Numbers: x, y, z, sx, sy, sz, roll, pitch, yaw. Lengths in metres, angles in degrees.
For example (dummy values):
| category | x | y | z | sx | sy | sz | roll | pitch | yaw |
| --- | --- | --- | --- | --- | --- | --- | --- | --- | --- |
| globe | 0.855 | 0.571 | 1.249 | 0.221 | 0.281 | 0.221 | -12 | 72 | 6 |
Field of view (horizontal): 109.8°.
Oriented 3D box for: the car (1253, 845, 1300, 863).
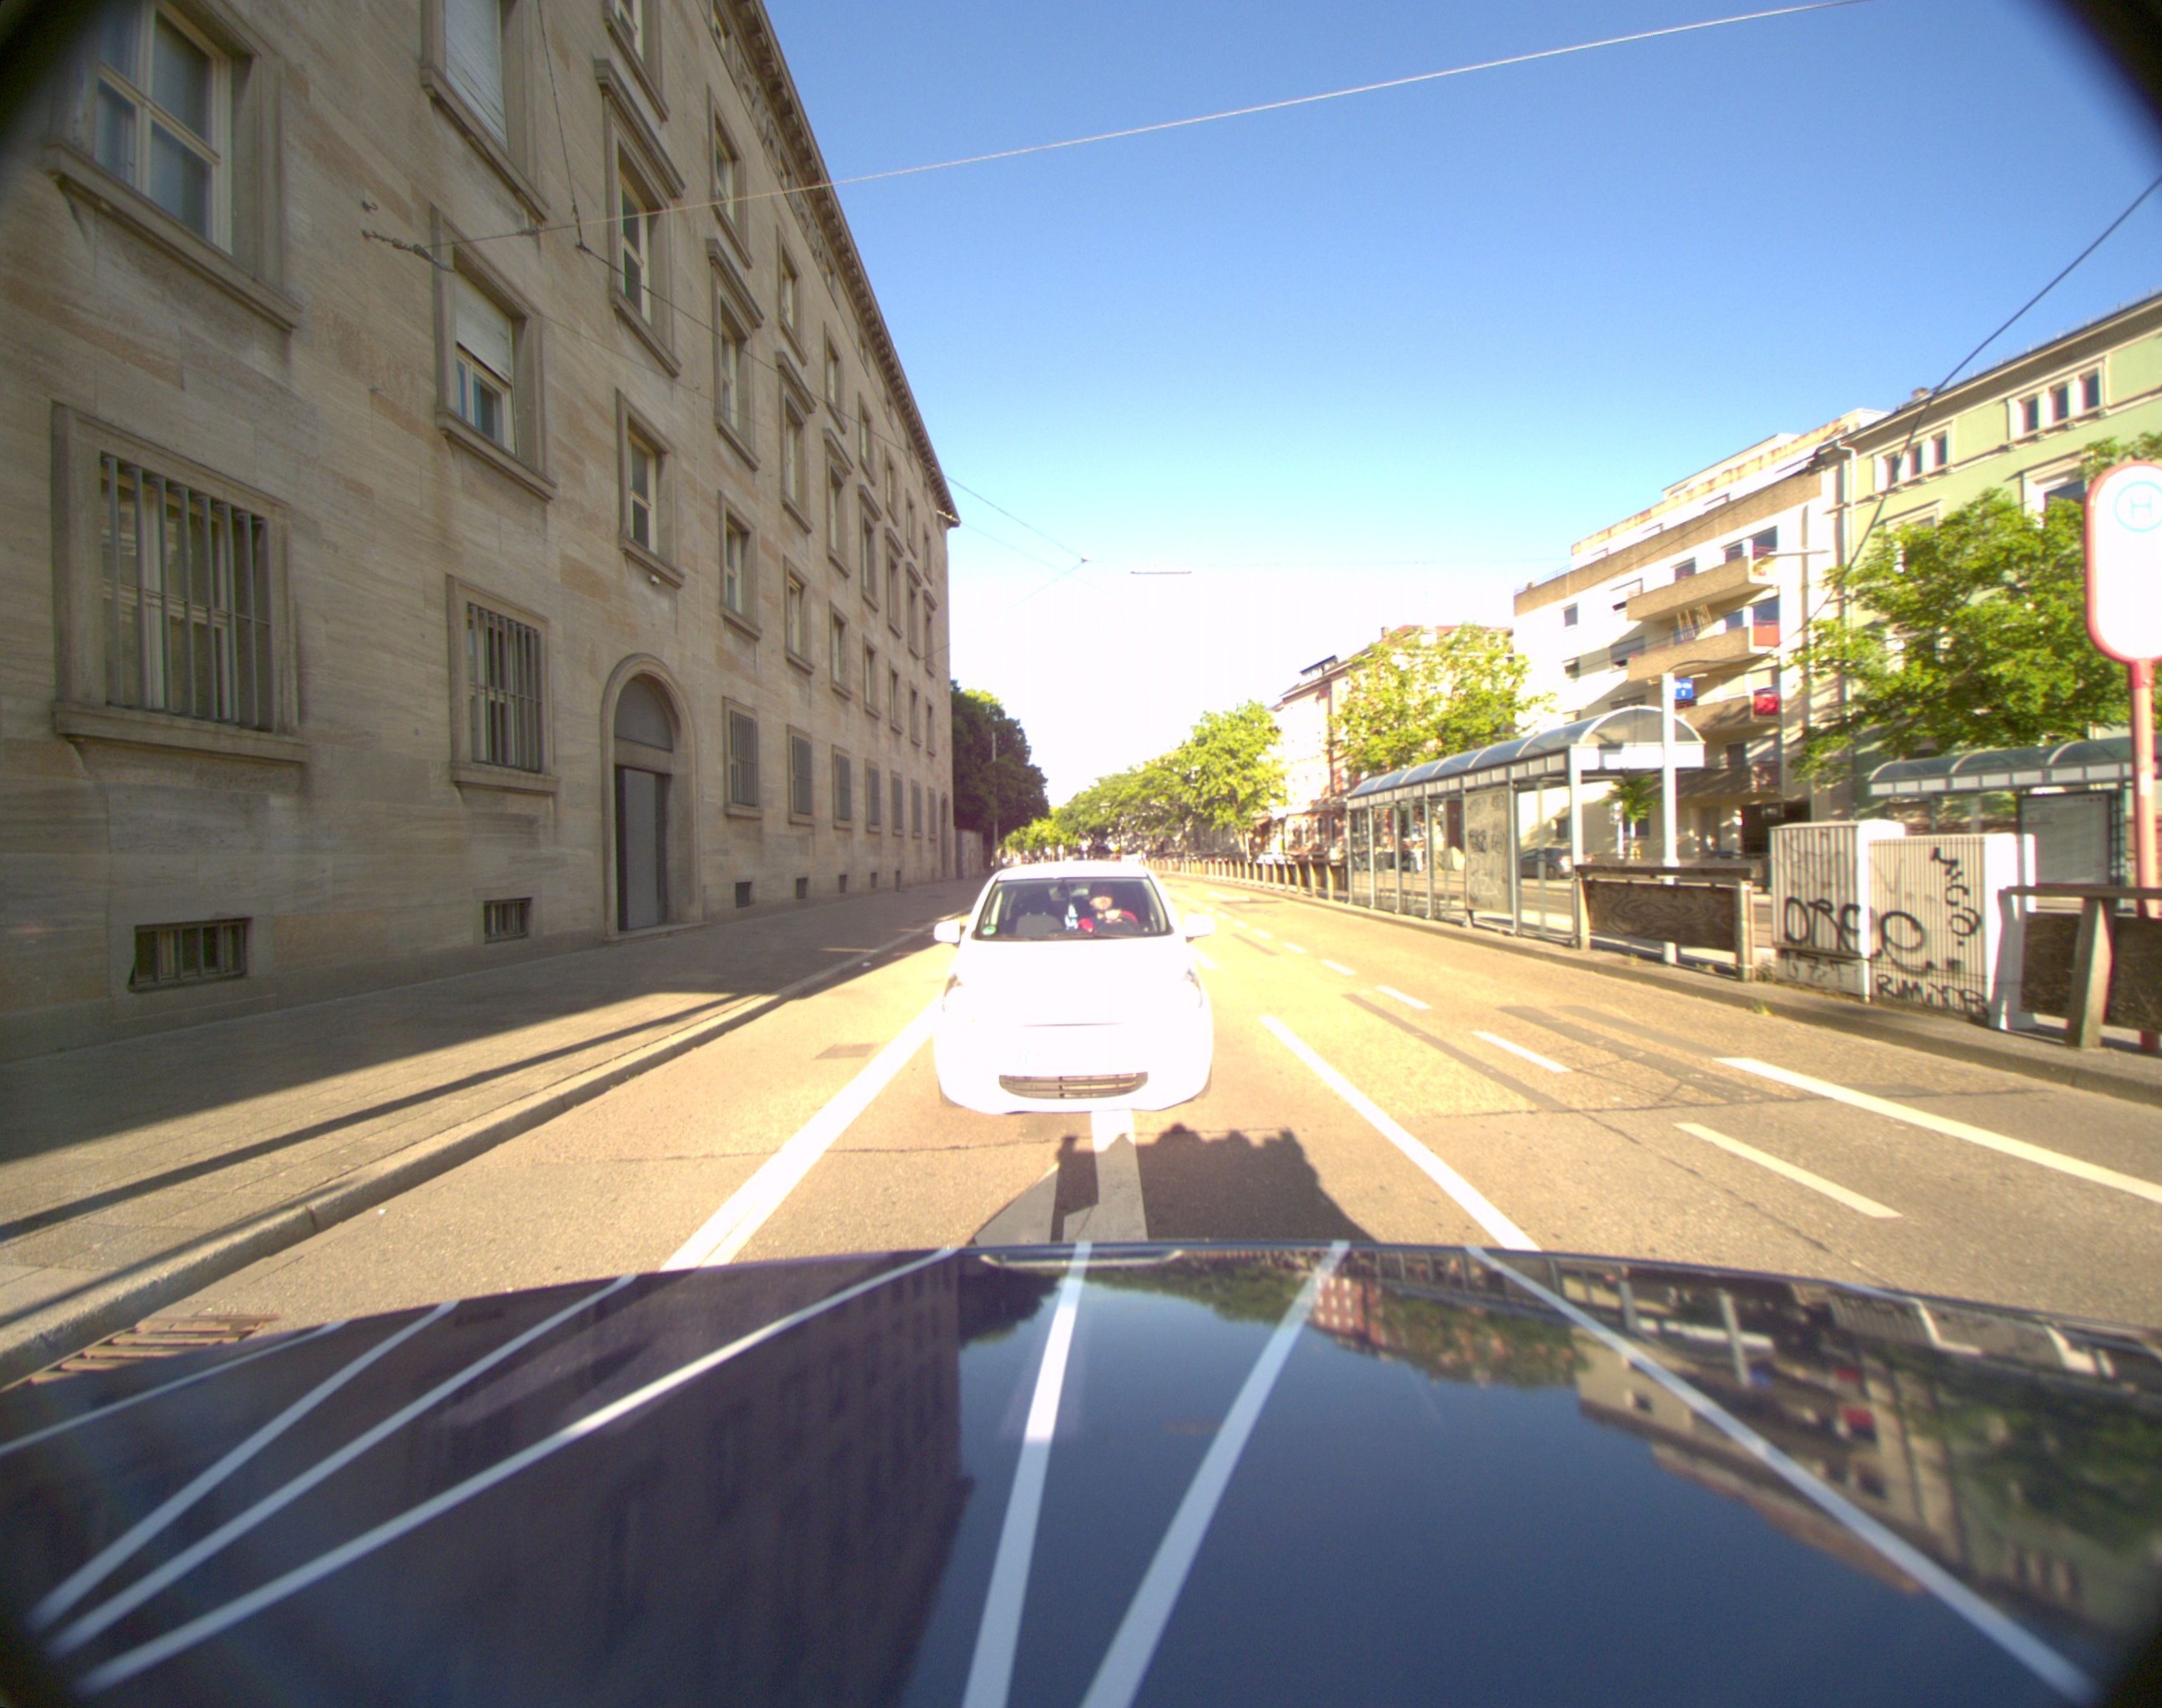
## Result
| category | x | y | z | sx | sy | sz | roll | pitch | yaw |
| --- | --- | --- | --- | --- | --- | --- | --- | --- | --- |
| car | 16.288 | 0.004 | 63.273 | 3.648 | 1.342 | 1.578 | -2 | 1 | -29 |

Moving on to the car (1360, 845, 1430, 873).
| category | x | y | z | sx | sy | sz | roll | pitch | yaw |
| --- | --- | --- | --- | --- | --- | --- | --- | --- | --- |
| car | 18.137 | 0.283 | 44.137 | 2.000 | 1.521 | 3.997 | -1 | 0 | -8 |

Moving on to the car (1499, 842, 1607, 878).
| category | x | y | z | sx | sy | sz | roll | pitch | yaw |
| --- | --- | --- | --- | --- | --- | --- | --- | --- | --- |
| car | 20.947 | 0.257 | 33.937 | 2.000 | 1.521 | 3.997 | 0 | 0 | -8 |

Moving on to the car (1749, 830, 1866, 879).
| category | x | y | z | sx | sy | sz | roll | pitch | yaw |
| --- | --- | --- | --- | --- | --- | --- | --- | --- | --- |
| car | 31.653 | 0.011 | 33.121 | 4.001 | 2.002 | 1.798 | -1 | 1 | -13 |

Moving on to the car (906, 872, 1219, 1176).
| category | x | y | z | sx | sy | sz | roll | pitch | yaw |
| --- | --- | --- | --- | --- | --- | --- | --- | --- | --- |
| car | -0.071 | 0.939 | 5.794 | 1.606 | 1.455 | 3.621 | -1 | 0 | 1 |

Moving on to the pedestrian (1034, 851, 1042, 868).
| category | x | y | z | sx | sy | sz | roll | pitch | yaw |
| --- | --- | --- | --- | --- | --- | --- | --- | --- | --- |
| pedestrian | -4.410 | 0.571 | 78.232 | 0.686 | 1.673 | 0.929 | -1 | 1 | 5 |
